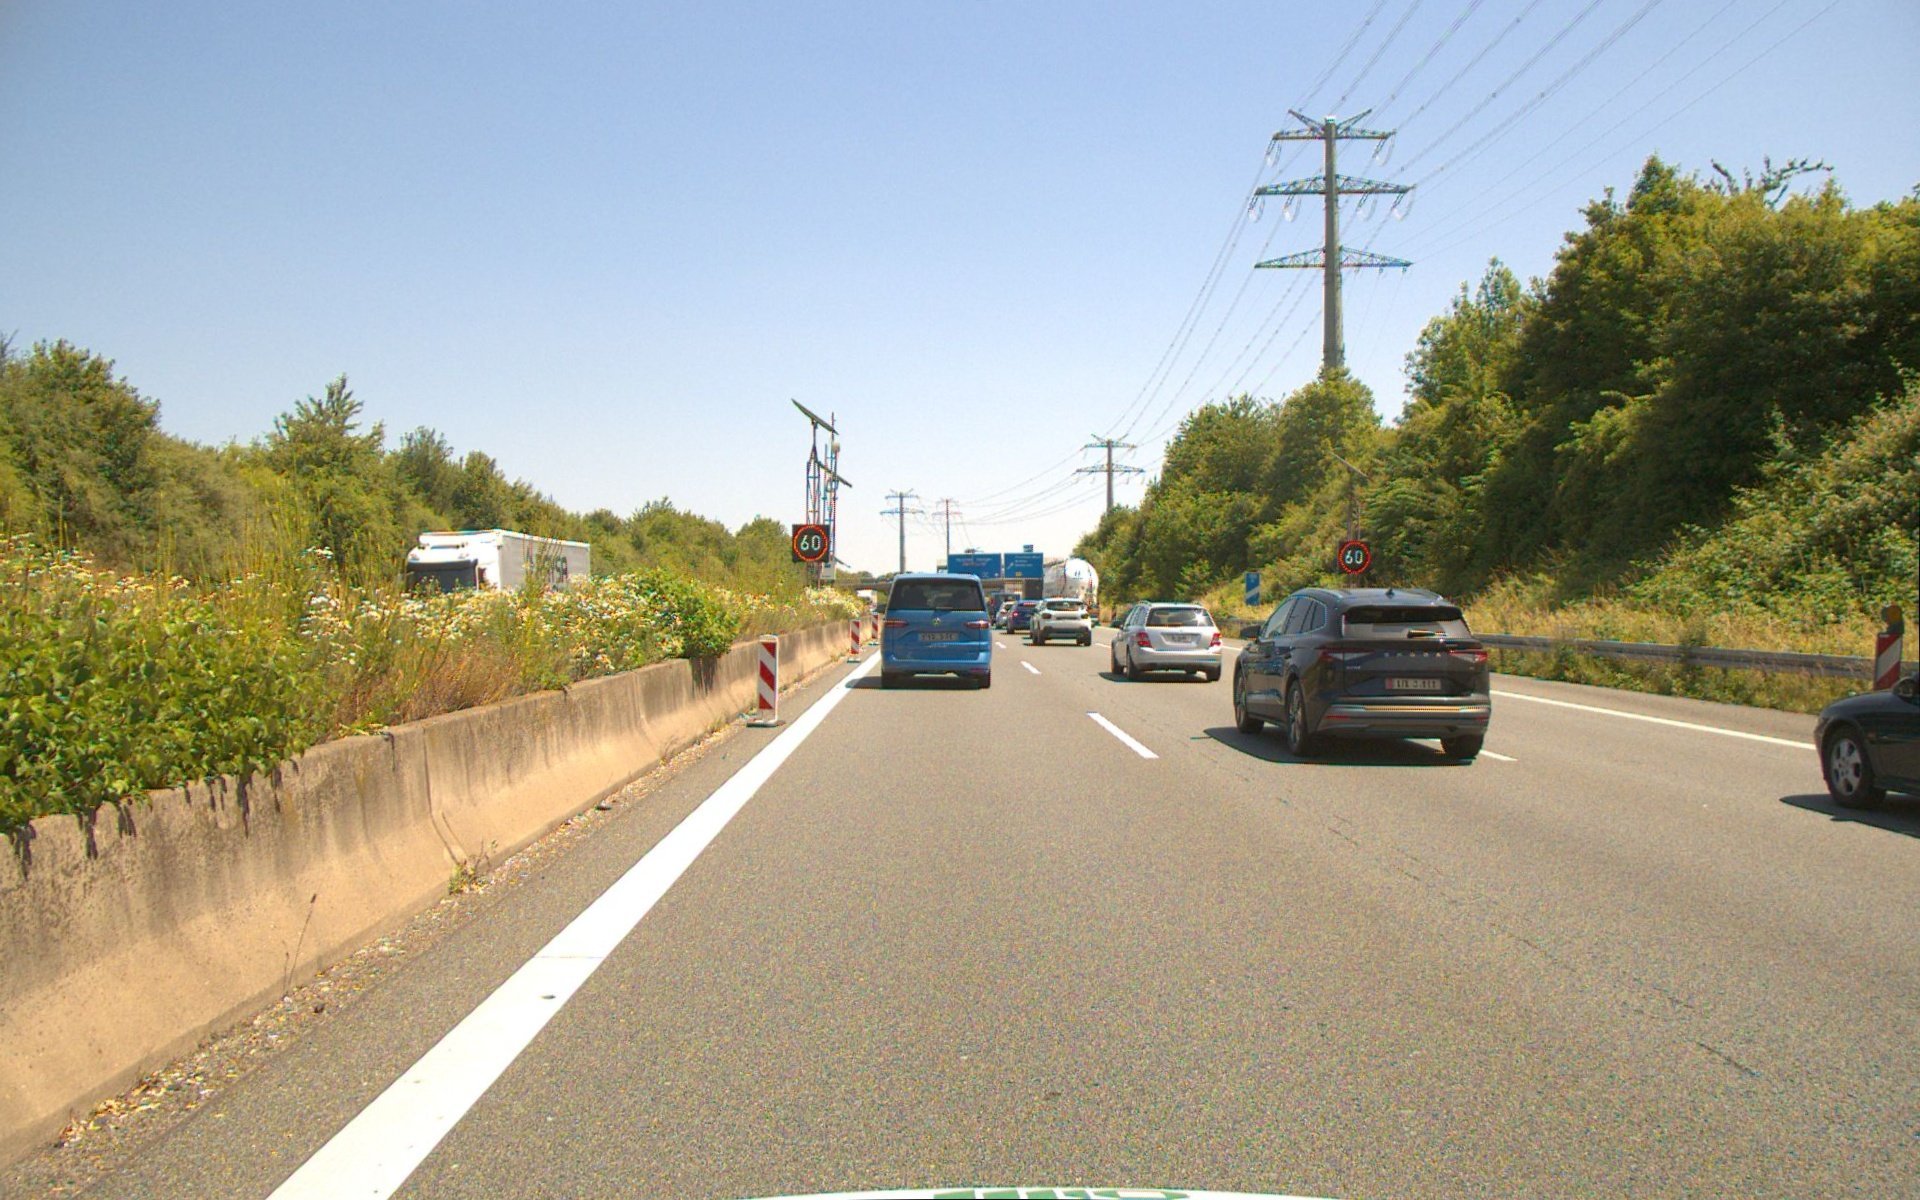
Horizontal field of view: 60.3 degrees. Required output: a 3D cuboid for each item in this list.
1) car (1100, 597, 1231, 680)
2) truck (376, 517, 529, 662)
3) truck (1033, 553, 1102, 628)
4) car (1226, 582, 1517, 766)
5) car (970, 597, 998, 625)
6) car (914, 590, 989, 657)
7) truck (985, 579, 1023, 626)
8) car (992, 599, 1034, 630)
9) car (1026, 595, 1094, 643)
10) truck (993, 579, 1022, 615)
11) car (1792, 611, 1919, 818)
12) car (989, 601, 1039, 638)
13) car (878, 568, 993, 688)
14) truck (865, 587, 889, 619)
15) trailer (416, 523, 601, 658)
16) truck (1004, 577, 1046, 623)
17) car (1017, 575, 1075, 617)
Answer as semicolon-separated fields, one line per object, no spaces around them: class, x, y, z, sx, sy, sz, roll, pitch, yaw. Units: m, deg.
car;3.894;0.688;31.996;1.784;1.462;4.381;1;0;-3
truck;-16.138;-0.320;53.056;2.956;4.239;5.804;-3;0;-1
truck;6.371;-0.517;100.820;2.591;4.143;16.434;1;0;-2
car;4.076;0.658;17.153;1.791;1.642;4.429;1;0;-2
car;1.802;0.794;125.208;1.953;2.049;3.998;1;0;-2
car;-0.281;0.597;43.813;1.870;1.659;4.382;0;0;-2
truck;2.641;0.154;100.275;1.953;2.771;5.678;1;0;-2
car;2.750;0.753;86.635;1.870;1.542;4.381;1;0;-3
car;3.304;0.618;55.277;1.870;1.534;3.919;1;0;-3
truck;5.989;-0.400;210.007;2.879;4.366;12.547;1;0;-2
car;7.436;0.802;10.812;1.699;1.402;4.300;1;0;-2
car;2.378;0.838;73.834;1.870;1.542;4.381;1;0;-3
car;-0.505;0.458;29.119;1.833;1.912;4.381;1;0;-3
truck;-10.996;0.338;218.793;2.707;3.956;9.027;-3;0;-1
trailer;-16.239;-0.316;60.942;2.956;4.239;14.017;-3;0;-1
truck;5.355;0.007;138.865;2.591;3.600;12.547;1;0;-2
car;3.388;-0.143;66.058;1.870;1.597;4.381;1;0;-3
